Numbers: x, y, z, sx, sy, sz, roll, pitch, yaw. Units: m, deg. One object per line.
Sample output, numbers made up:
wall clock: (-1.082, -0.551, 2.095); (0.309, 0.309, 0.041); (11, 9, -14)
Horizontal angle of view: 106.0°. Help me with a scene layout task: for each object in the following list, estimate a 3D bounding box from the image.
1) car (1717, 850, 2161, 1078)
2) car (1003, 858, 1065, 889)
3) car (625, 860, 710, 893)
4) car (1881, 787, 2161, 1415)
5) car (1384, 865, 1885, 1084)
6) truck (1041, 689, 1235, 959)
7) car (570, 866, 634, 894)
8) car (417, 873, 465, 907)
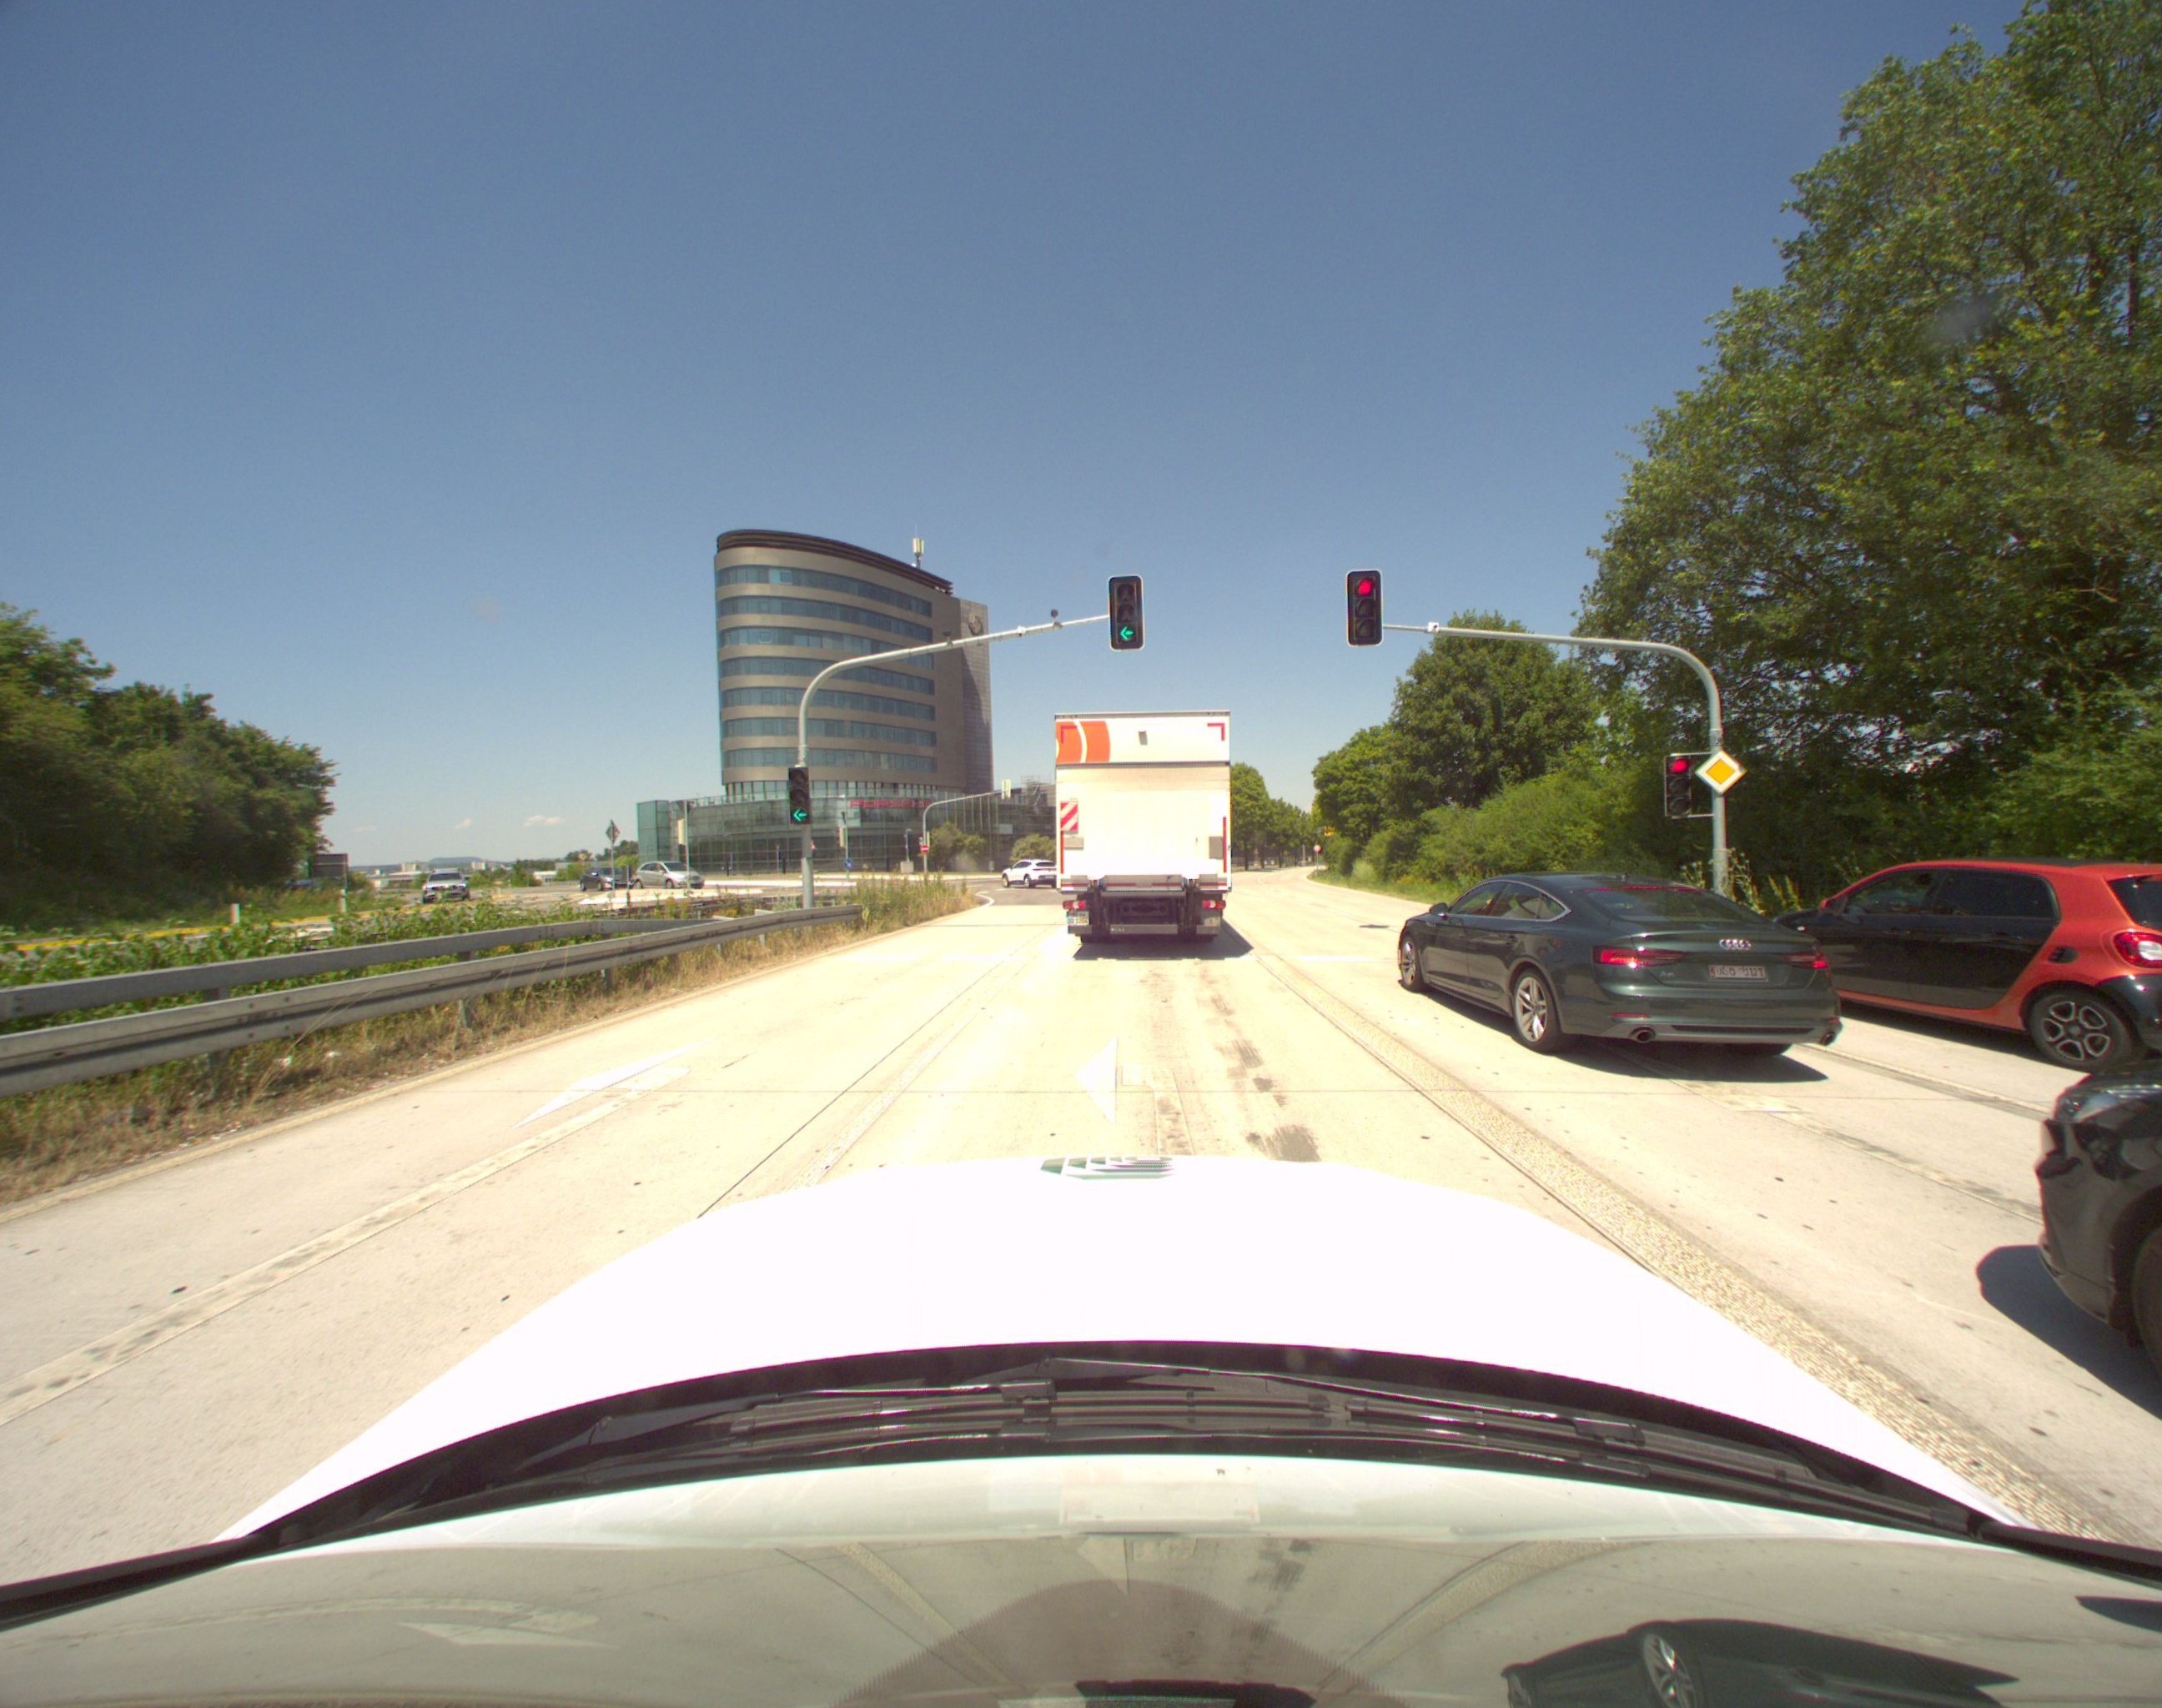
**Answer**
car: (7.969, 0.747, 7.242); (1.762, 1.509, 3.650); (0, -1, 0)
car: (-2.532, 1.011, 43.056); (1.813, 1.557, 3.963); (0, -1, -28)
car: (-21.993, 1.189, 43.320); (4.275, 1.595, 1.787); (-3, -2, 26)
car: (3.661, 0.619, 0.539); (1.777, 1.639, 4.648); (0, -1, 2)
car: (4.428, 0.809, 7.583); (1.760, 1.410, 4.614); (0, -1, 4)
truck: (1.161, -0.364, 16.372); (2.757, 3.860, 9.380); (0, -1, 4)
car: (-28.105, 1.526, 47.756); (4.273, 1.456, 1.708); (-3, -2, 36)
car: (-35.667, 1.961, 45.475); (2.009, 1.773, 4.802); (0, -1, -38)
